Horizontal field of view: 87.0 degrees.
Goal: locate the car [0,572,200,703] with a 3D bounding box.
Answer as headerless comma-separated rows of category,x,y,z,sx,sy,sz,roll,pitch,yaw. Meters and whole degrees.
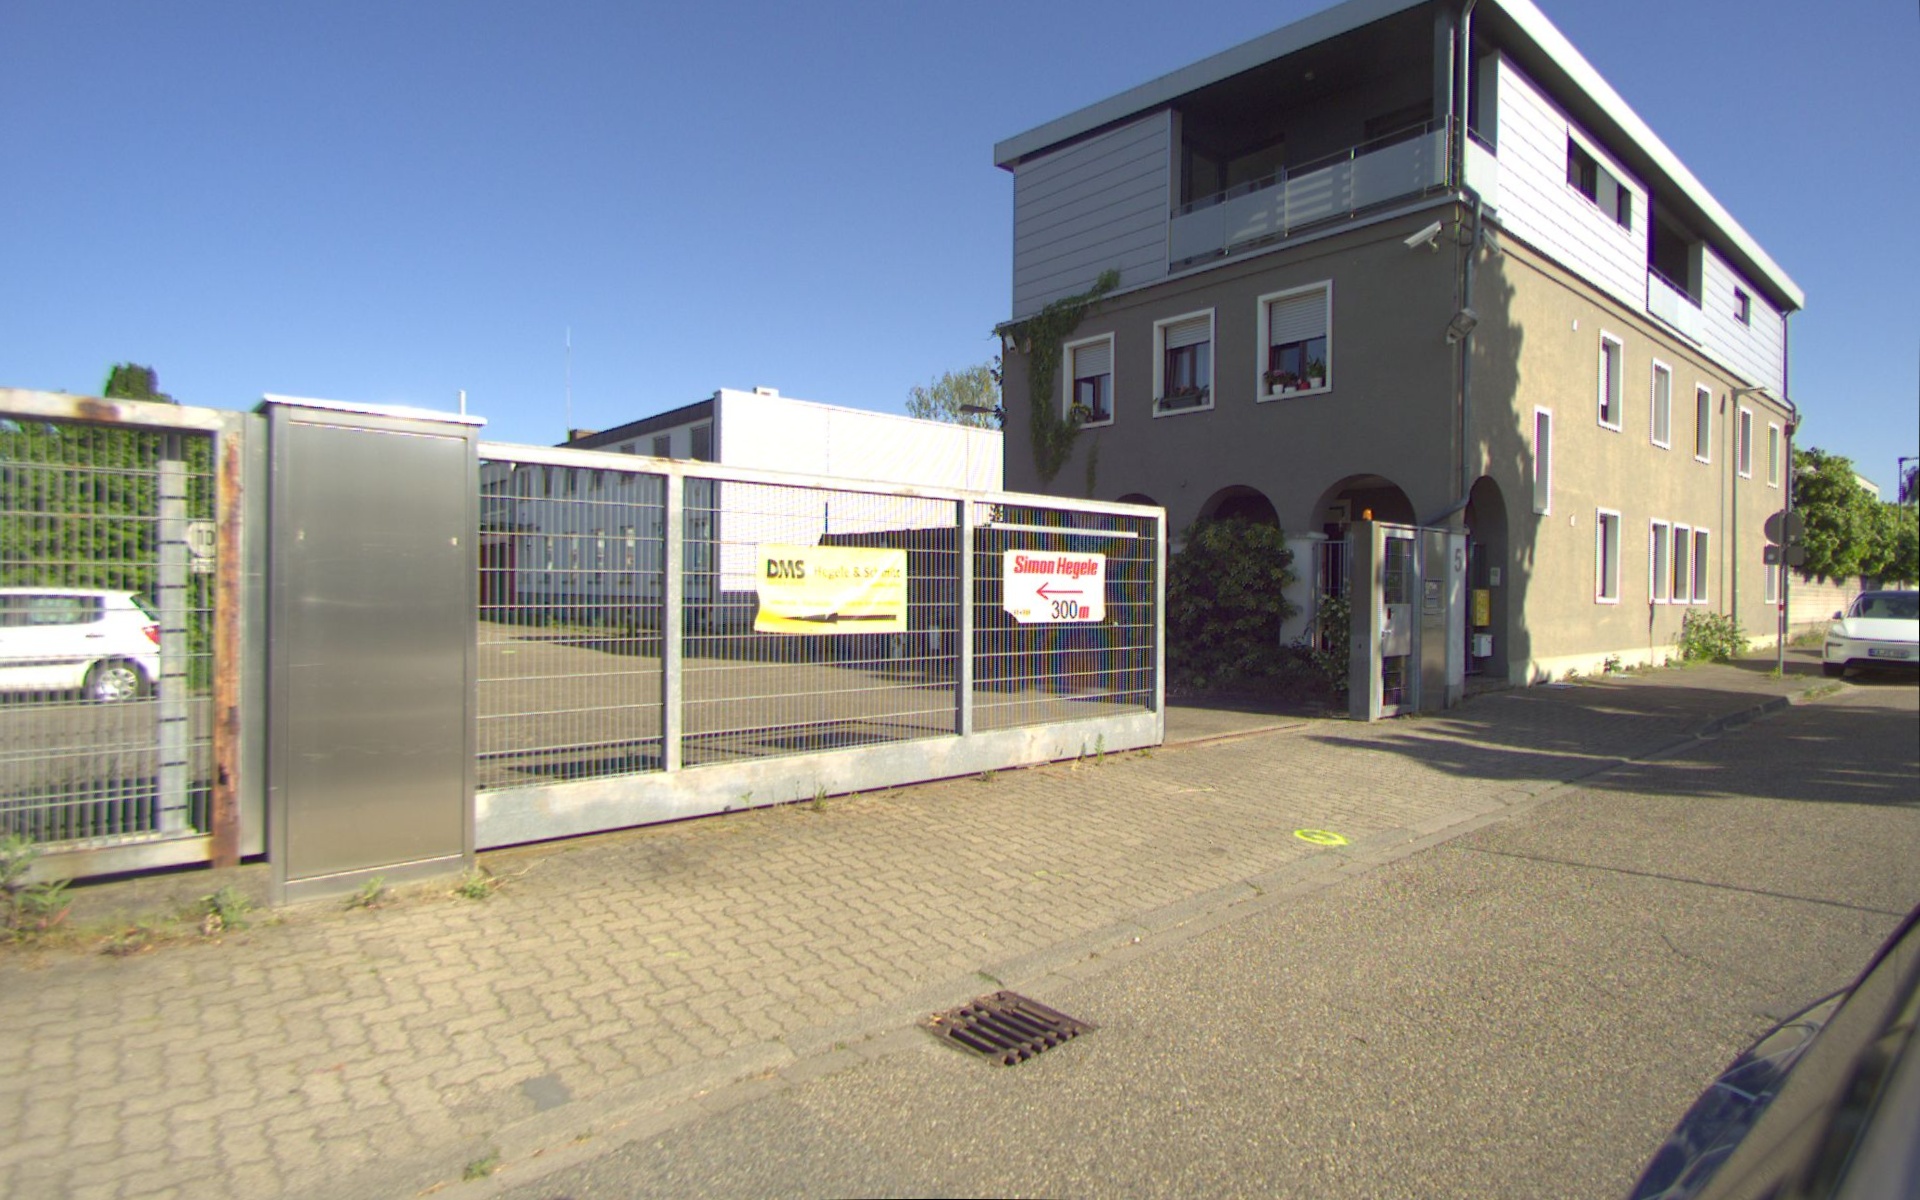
car,-12.308,0.441,12.834,4.214,1.583,1.869,-1,1,-36

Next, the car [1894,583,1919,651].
car,23.048,0.373,23.300,4.112,1.491,1.603,-1,2,-38

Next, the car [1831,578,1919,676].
car,18.016,0.426,19.052,4.689,1.665,1.934,-1,2,-43

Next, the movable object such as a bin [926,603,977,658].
movable object such as a bin,-0.163,0.567,19.263,0.736,0.984,0.616,-3,2,-40
